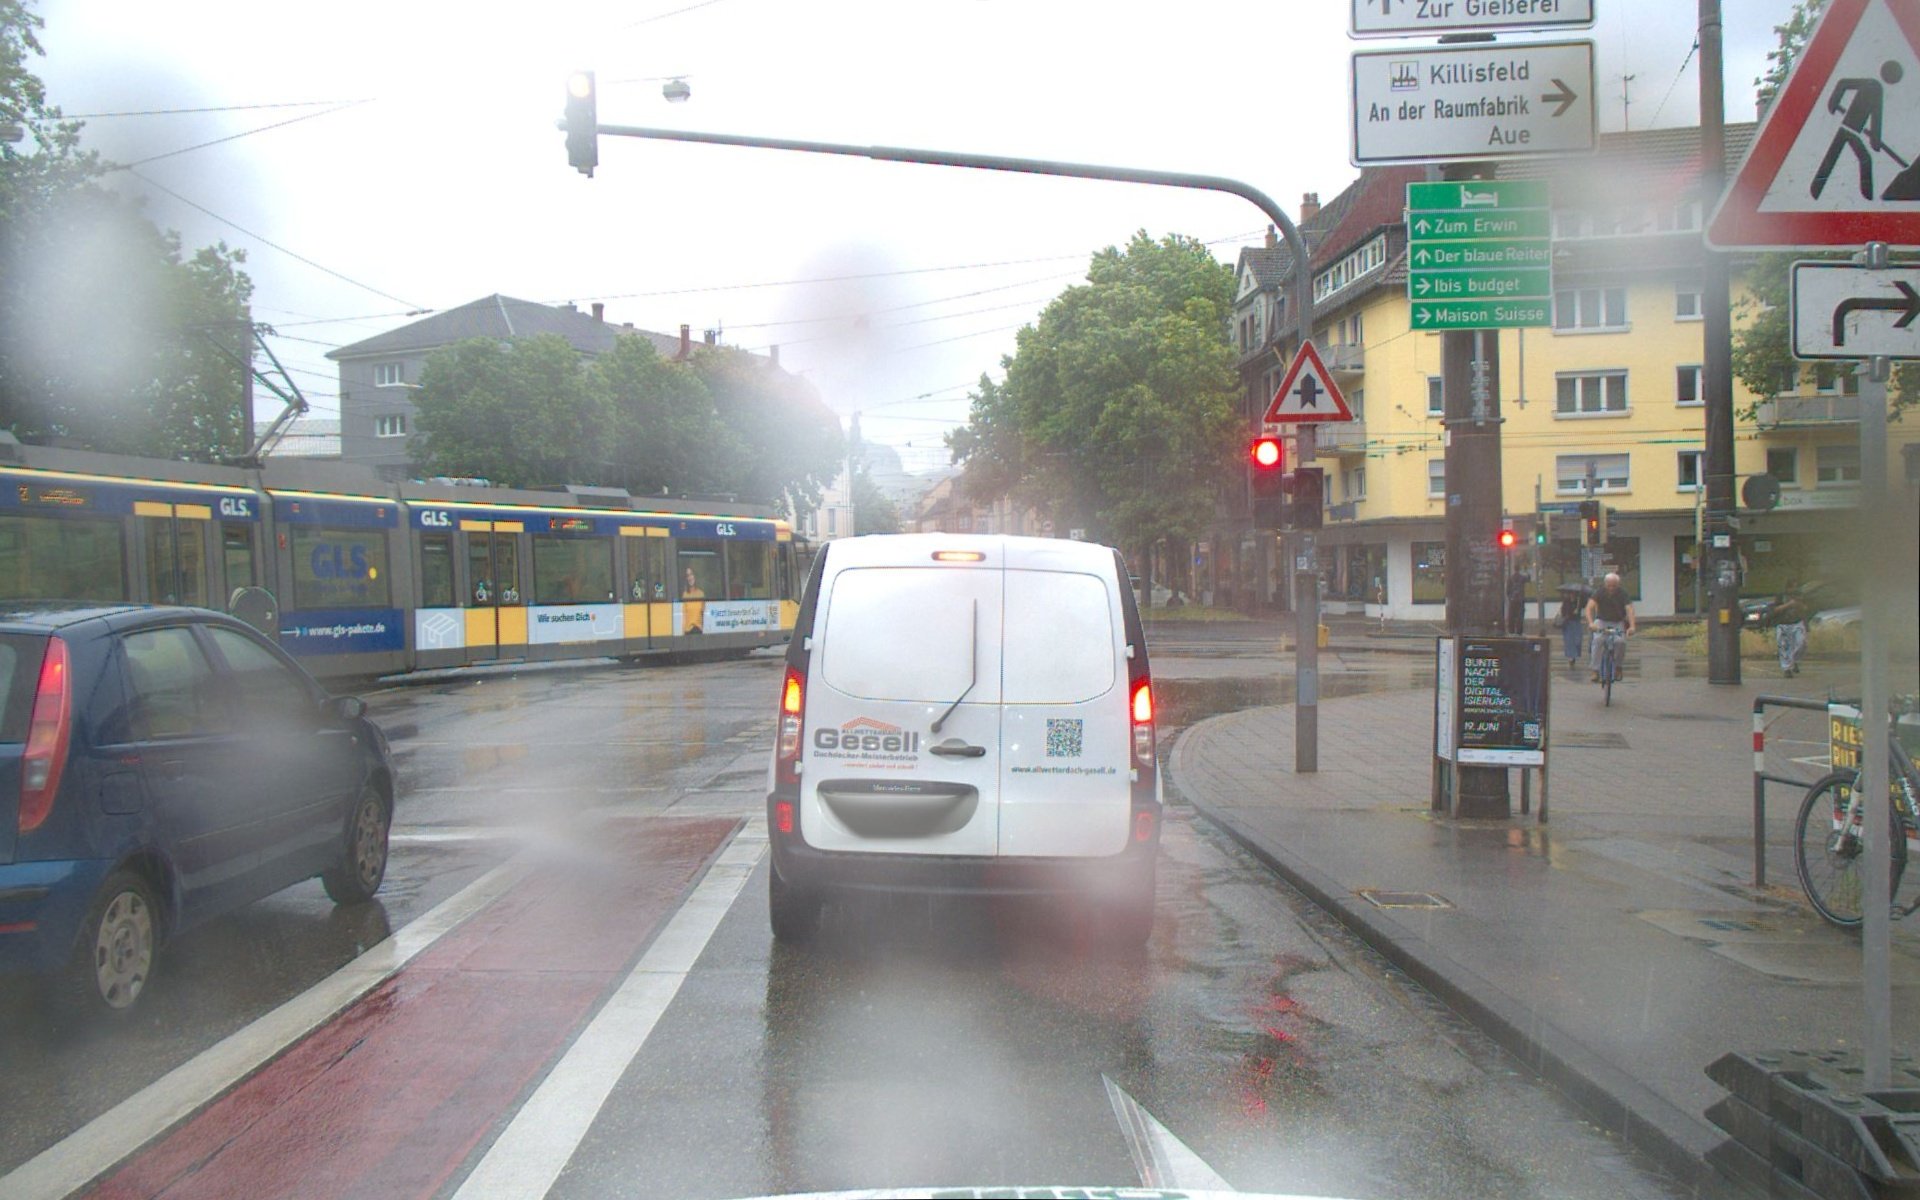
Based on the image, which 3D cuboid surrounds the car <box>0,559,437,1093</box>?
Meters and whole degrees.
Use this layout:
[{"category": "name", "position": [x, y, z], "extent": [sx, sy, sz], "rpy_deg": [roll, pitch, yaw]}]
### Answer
[{"category": "car", "position": [-3.610, 0.672, 6.872], "extent": [1.692, 1.606, 3.820], "rpy_deg": [0, 0, -1]}]

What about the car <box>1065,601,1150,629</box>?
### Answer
[{"category": "car", "position": [6.314, 0.645, 70.758], "extent": [3.378, 1.150, 1.469], "rpy_deg": [0, 0, -9]}]

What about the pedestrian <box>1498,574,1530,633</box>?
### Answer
[{"category": "pedestrian", "position": [14.644, 0.092, 43.708], "extent": [0.547, 1.526, 0.614], "rpy_deg": [1, 0, -39]}]

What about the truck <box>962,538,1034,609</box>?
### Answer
[{"category": "truck", "position": [2.788, -1.928, 127.608], "extent": [3.403, 5.176, 15.284], "rpy_deg": [0, 0, -7]}]

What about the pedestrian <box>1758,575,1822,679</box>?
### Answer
[{"category": "pedestrian", "position": [13.914, 0.446, 27.755], "extent": [0.886, 1.698, 1.019], "rpy_deg": [0, 0, 23]}]

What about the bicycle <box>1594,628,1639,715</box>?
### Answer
[{"category": "bicycle", "position": [8.919, 0.949, 22.516], "extent": [0.449, 1.045, 1.902], "rpy_deg": [0, 1, 18]}]

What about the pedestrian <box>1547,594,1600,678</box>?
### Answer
[{"category": "pedestrian", "position": [11.567, 0.667, 31.174], "extent": [0.809, 1.561, 0.614], "rpy_deg": [1, 0, -39]}]

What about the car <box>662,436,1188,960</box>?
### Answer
[{"category": "car", "position": [-0.171, 0.388, 8.969], "extent": [2.058, 2.047, 4.962], "rpy_deg": [0, 0, -1]}]

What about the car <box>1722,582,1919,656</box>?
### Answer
[{"category": "car", "position": [20.856, 0.469, 39.080], "extent": [4.832, 1.672, 2.001], "rpy_deg": [0, -2, 11]}]

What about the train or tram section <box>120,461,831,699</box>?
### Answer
[{"category": "train or tram section", "position": [-7.990, -0.259, 31.780], "extent": [3.472, 3.472, 15.487], "rpy_deg": [1, 0, 27]}]

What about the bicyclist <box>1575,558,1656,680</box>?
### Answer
[{"category": "bicyclist", "position": [8.907, 0.249, 22.501], "extent": [0.859, 1.611, 0.861], "rpy_deg": [0, 0, 9]}]

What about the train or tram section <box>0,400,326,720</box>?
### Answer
[{"category": "train or tram section", "position": [-12.517, -0.481, 18.387], "extent": [3.438, 3.574, 13.671], "rpy_deg": [1, 0, 11]}]

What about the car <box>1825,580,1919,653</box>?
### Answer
[{"category": "car", "position": [21.118, 0.341, 35.900], "extent": [3.854, 1.516, 1.808], "rpy_deg": [0, 1, 15]}]

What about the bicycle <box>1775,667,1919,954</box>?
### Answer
[{"category": "bicycle", "position": [4.252, 0.912, 7.086], "extent": [0.503, 1.126, 2.017], "rpy_deg": [3, 0, 1]}]

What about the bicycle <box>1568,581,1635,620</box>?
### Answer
[{"category": "bicycle", "position": [21.547, 0.013, 55.598], "extent": [2.056, 1.283, 0.532], "rpy_deg": [0, 1, 14]}]

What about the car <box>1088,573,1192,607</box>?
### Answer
[{"category": "car", "position": [7.517, -0.415, 69.101], "extent": [4.088, 1.362, 1.518], "rpy_deg": [0, 1, -8]}]
